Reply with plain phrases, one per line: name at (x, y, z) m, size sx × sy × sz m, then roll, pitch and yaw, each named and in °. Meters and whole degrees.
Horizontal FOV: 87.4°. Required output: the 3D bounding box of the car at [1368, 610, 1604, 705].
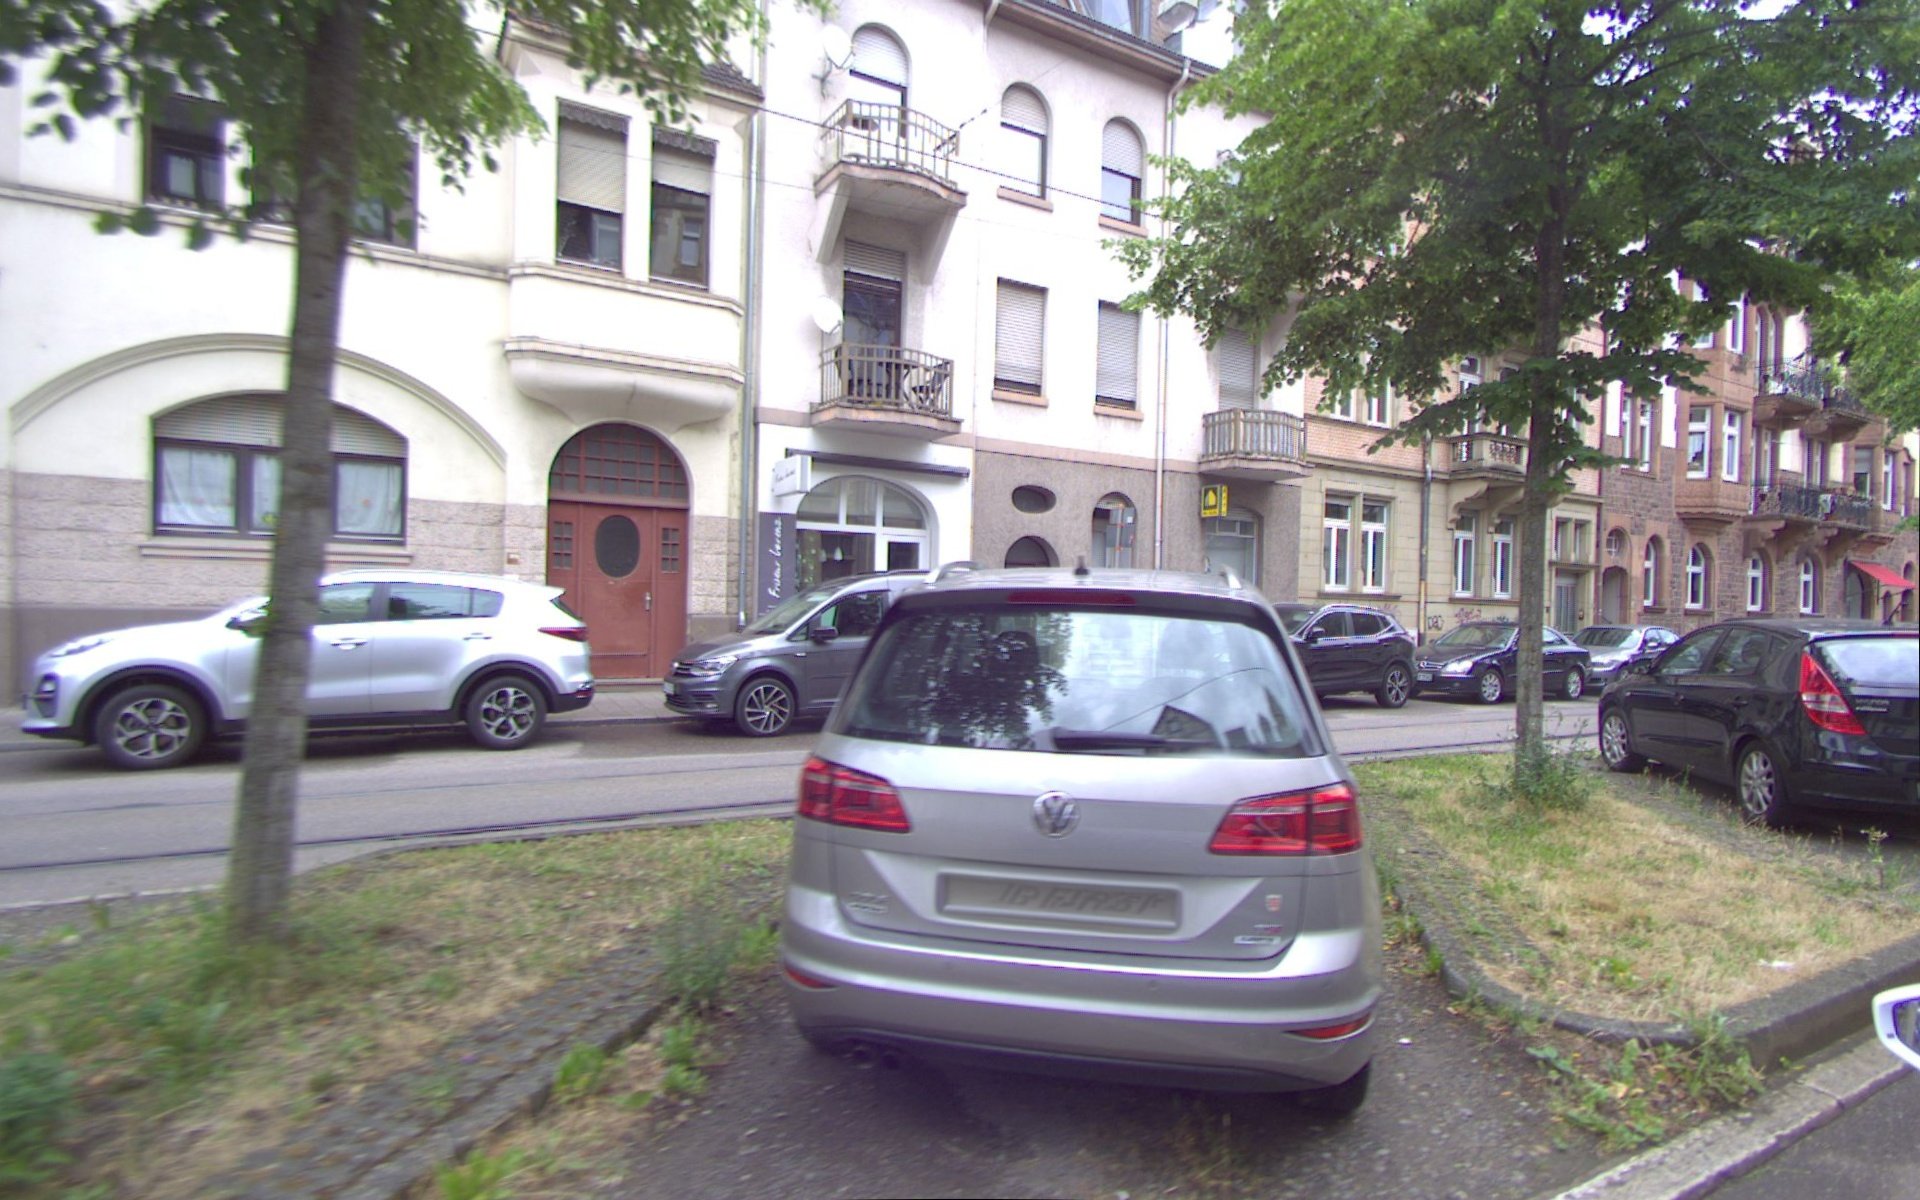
car at (9.602, 1.010, 18.265) m, size 4.338 × 1.509 × 1.795 m, roll 2°, pitch 0°, yaw -31°

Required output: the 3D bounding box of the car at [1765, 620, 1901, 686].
car at (23.140, 1.387, 26.602) m, size 3.680 × 1.580 × 1.653 m, roll 2°, pitch 0°, yaw -31°

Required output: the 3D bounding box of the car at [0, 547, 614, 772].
car at (-5.783, 0.483, 9.493) m, size 4.445 × 1.682 × 1.840 m, roll 1°, pitch 0°, yaw -33°

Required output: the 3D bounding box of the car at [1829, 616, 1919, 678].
car at (27.306, 1.357, 29.233) m, size 4.502 × 1.648 × 1.731 m, roll 2°, pitch 0°, yaw -31°

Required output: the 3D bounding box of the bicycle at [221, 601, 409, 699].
bicycle at (-7.737, 0.592, 12.149) m, size 1.845 × 1.102 × 0.651 m, roll 1°, pitch 1°, yaw -29°

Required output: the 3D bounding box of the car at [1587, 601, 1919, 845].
car at (6.767, 0.788, 8.121) m, size 1.740 × 1.505 × 4.002 m, roll 2°, pitch 0°, yaw 15°

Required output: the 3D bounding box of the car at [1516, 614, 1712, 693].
car at (13.723, 1.095, 21.034) m, size 4.182 × 1.457 × 1.795 m, roll 2°, pitch 0°, yaw -31°

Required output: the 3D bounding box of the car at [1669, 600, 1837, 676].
car at (19.076, 0.918, 24.121) m, size 4.271 × 1.650 × 1.759 m, roll 2°, pitch 0°, yaw -31°

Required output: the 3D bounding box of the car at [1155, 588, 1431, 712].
car at (5.281, 0.753, 15.802) m, size 4.225 × 1.702 × 1.795 m, roll 2°, pitch 0°, yaw -31°

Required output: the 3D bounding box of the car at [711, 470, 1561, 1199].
car at (0.706, 0.597, 4.173) m, size 1.690 × 1.630 × 4.210 m, roll 2°, pitch -1°, yaw 11°

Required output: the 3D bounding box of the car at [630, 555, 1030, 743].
car at (-1.499, 0.534, 12.048) m, size 4.379 × 1.895 × 1.842 m, roll 1°, pitch 0°, yaw -30°

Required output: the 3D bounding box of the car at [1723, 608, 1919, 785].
car at (9.556, 0.878, 9.735) m, size 1.826 × 1.513 × 4.567 m, roll 2°, pitch 0°, yaw 16°
